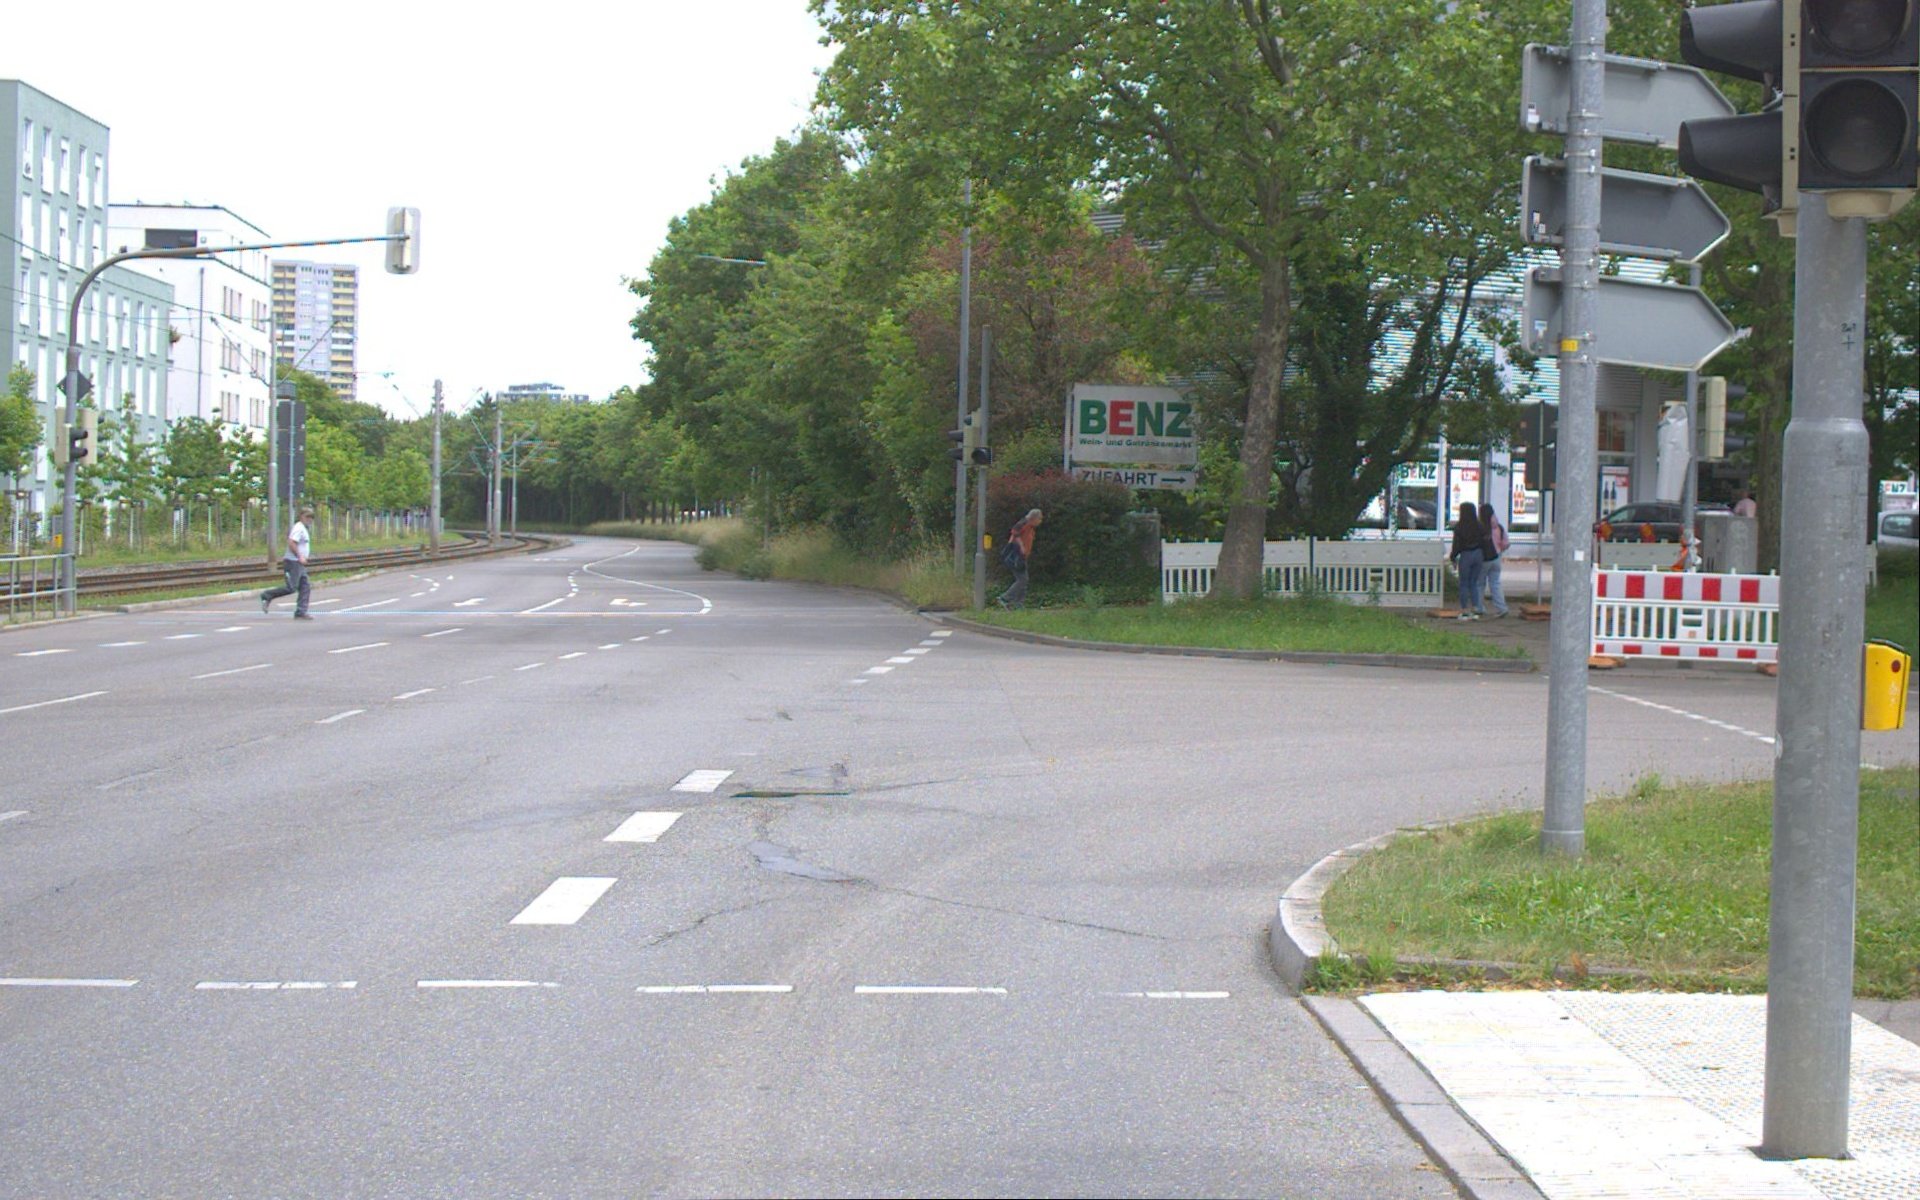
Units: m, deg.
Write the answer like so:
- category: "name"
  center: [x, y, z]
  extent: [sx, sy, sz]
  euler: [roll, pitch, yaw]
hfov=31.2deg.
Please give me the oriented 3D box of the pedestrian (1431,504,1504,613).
- category: "pedestrian"
  center: [6.950, -0.566, 47.081]
  extent: [0.717, 1.484, 0.700]
  euler: [1, 0, -22]

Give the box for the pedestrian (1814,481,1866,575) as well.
- category: "pedestrian"
  center: [18.904, -1.549, 73.853]
  extent: [0.804, 1.995, 0.853]
  euler: [1, 0, -5]

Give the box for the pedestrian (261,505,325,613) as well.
- category: "pedestrian"
  center: [-9.900, -0.611, 51.077]
  extent: [0.848, 1.581, 0.796]
  euler: [1, 0, -6]

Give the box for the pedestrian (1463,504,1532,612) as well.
- category: "pedestrian"
  center: [7.466, -0.579, 47.750]
  extent: [0.685, 1.484, 0.700]
  euler: [1, 0, -17]

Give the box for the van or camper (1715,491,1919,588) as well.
- category: "van or camper"
  center: [15.665, -1.115, 61.999]
  extent: [1.840, 1.678, 4.001]
  euler: [-1, 2, -28]

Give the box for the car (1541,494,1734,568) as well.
- category: "car"
  center: [14.242, -1.445, 72.513]
  extent: [1.728, 1.495, 4.269]
  euler: [1, 1, -27]

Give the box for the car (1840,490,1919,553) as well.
- category: "car"
  center: [21.823, -1.784, 78.221]
  extent: [1.480, 1.399, 3.409]
  euler: [1, 1, -31]

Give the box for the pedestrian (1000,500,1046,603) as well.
- category: "pedestrian"
  center: [0.945, -0.731, 51.816]
  extent: [0.653, 1.533, 0.773]
  euler: [1, 0, 0]
